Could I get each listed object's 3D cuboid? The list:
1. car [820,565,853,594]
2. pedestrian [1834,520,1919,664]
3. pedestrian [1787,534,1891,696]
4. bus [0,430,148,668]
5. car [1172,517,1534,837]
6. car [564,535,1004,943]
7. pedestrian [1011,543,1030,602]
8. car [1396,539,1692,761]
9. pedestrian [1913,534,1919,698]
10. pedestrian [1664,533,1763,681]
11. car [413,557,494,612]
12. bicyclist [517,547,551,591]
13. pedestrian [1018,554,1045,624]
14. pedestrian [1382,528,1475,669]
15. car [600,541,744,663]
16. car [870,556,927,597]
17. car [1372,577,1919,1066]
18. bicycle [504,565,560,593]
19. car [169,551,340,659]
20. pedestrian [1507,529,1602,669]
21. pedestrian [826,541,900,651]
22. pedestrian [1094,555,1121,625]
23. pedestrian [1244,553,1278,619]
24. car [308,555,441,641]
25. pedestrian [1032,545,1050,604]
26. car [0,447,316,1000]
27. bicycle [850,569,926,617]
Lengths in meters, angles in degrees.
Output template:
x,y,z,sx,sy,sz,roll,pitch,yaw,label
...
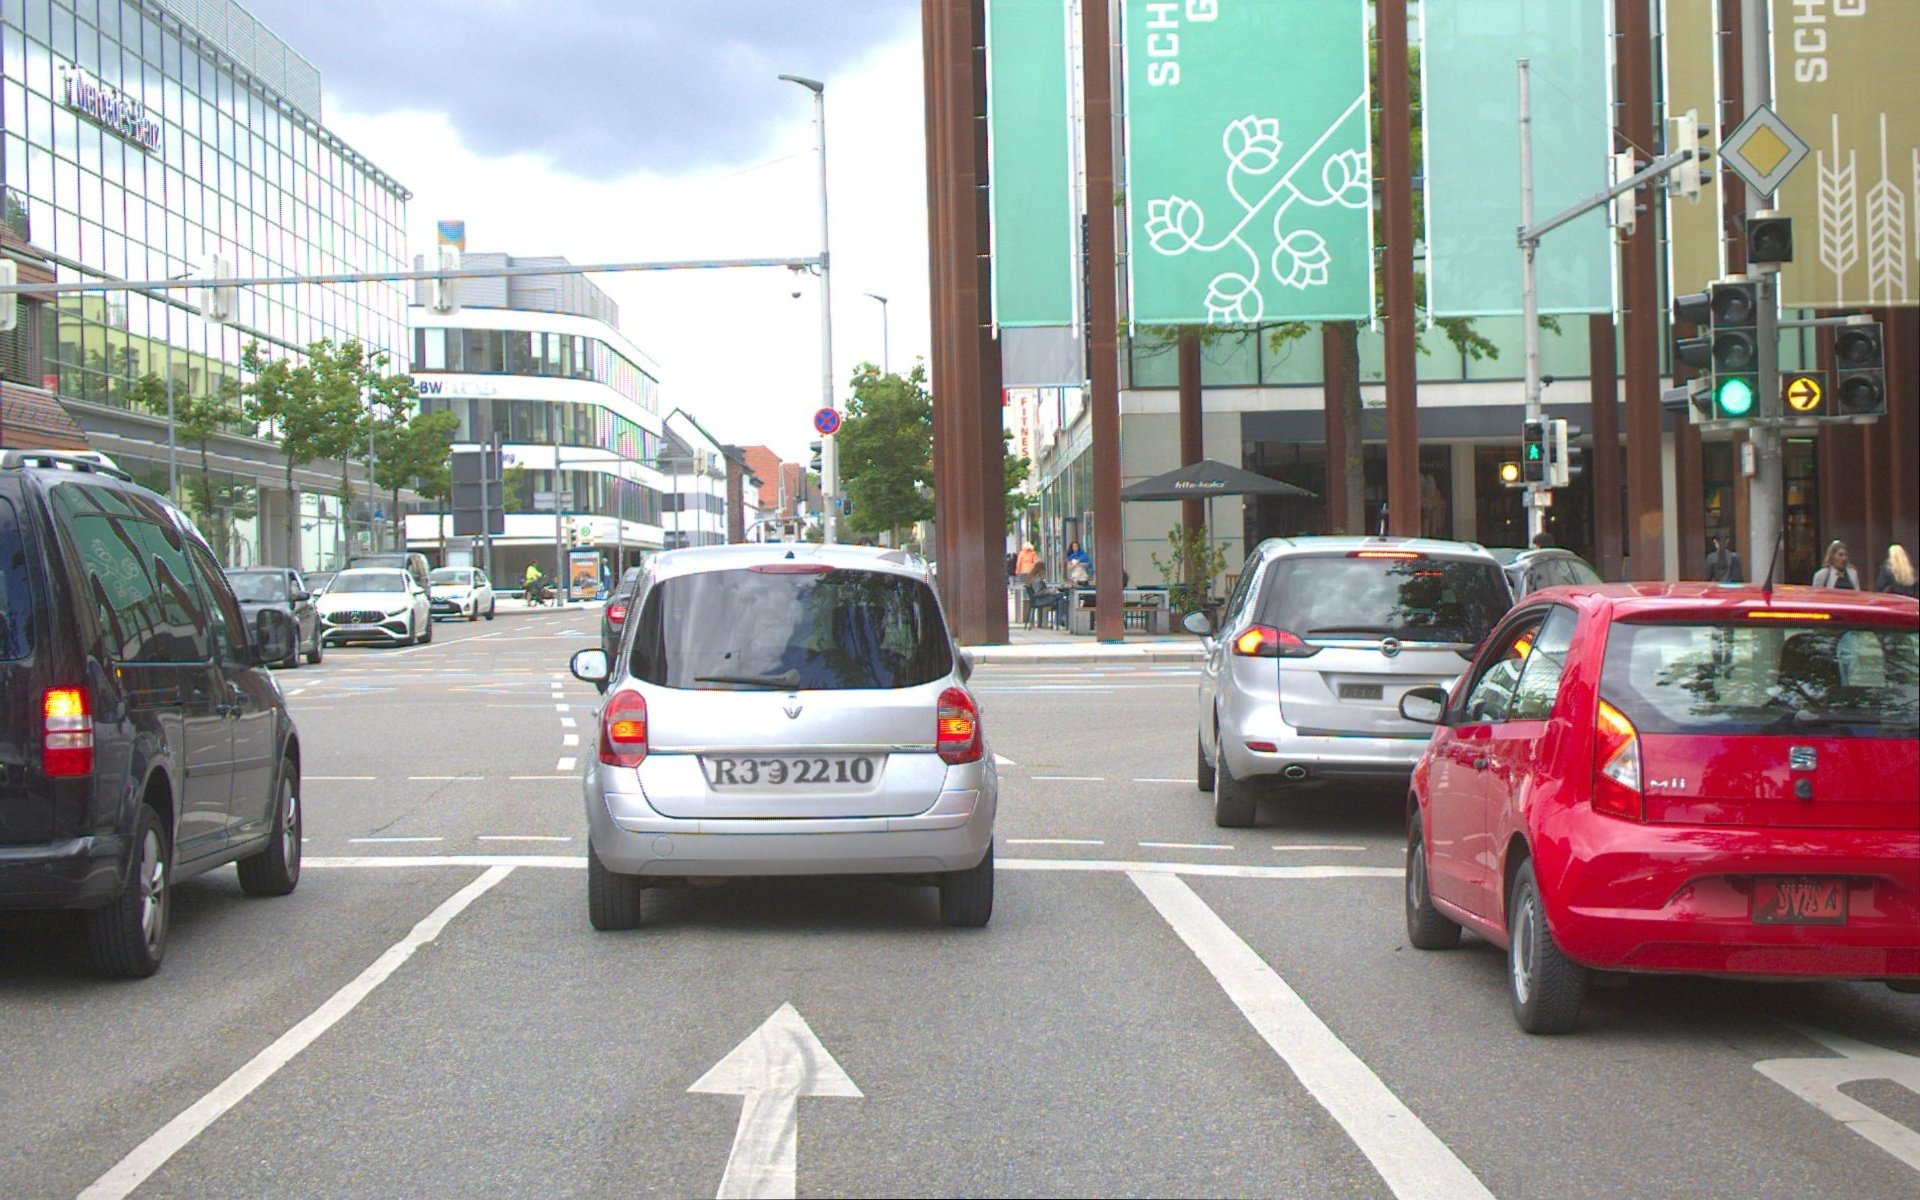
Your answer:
x,y,z,sx,sy,sz,roll,pitch,yaw,label
-6.680,-1.117,186.197,1.660,1.460,4.000,-2,1,-1,car
11.591,-0.107,43.123,0.878,1.761,1.120,-1,1,-4,pedestrian
9.004,0.147,35.237,0.741,1.620,0.954,-1,1,-4,pedestrian
-15.437,-0.566,46.059,2.989,3.316,12.297,-3,1,17,bus
2.260,0.387,20.795,1.739,1.695,4.381,1,1,1,car
-0.714,0.514,15.119,1.669,1.549,3.642,1,1,-1,car
1.599,-0.727,90.730,0.427,1.544,0.481,-1,1,-3,pedestrian
4.819,0.330,27.840,1.852,1.603,4.858,1,1,15,car
9.842,0.155,33.543,0.741,1.620,0.954,-1,1,-4,pedestrian
9.129,0.078,41.688,0.878,1.761,1.120,-1,1,-4,pedestrian
-14.048,-0.445,95.447,1.660,1.460,4.000,-2,1,-1,car
-16.420,-1.182,132.424,1.006,1.655,0.933,1,0,-29,bicyclist
1.249,-0.195,60.216,0.447,1.216,0.606,-1,1,2,pedestrian
5.682,-0.021,41.755,0.878,1.675,1.120,-1,1,-4,pedestrian
-3.838,-0.005,46.306,1.669,1.549,3.642,1,1,-1,car
-2.091,-0.821,117.811,1.877,1.330,4.000,1,1,-1,car
2.548,0.667,12.278,1.626,1.443,3.642,1,1,-1,car
-16.510,-0.810,132.572,1.006,1.015,3.130,1,0,-29,bicycle
-10.285,0.047,50.330,1.744,1.454,3.818,-2,1,-1,car
7.230,-0.019,41.863,0.878,1.675,1.120,-1,1,-4,pedestrian
-1.472,-0.065,52.137,0.871,1.641,0.679,0,1,33,pedestrian
2.576,-0.174,60.157,0.447,1.216,0.606,-1,1,3,pedestrian
5.639,-0.270,64.499,0.515,1.204,0.796,-1,2,-3,pedestrian
-10.578,-0.063,62.365,1.744,1.454,4.235,-2,1,-1,car
2.130,-0.671,90.741,0.427,1.544,0.481,-1,1,-3,pedestrian
-3.757,0.361,13.565,1.707,1.814,4.572,1,1,-2,car
-1.539,-0.159,73.656,1.561,0.989,0.752,-1,1,2,bicycle
